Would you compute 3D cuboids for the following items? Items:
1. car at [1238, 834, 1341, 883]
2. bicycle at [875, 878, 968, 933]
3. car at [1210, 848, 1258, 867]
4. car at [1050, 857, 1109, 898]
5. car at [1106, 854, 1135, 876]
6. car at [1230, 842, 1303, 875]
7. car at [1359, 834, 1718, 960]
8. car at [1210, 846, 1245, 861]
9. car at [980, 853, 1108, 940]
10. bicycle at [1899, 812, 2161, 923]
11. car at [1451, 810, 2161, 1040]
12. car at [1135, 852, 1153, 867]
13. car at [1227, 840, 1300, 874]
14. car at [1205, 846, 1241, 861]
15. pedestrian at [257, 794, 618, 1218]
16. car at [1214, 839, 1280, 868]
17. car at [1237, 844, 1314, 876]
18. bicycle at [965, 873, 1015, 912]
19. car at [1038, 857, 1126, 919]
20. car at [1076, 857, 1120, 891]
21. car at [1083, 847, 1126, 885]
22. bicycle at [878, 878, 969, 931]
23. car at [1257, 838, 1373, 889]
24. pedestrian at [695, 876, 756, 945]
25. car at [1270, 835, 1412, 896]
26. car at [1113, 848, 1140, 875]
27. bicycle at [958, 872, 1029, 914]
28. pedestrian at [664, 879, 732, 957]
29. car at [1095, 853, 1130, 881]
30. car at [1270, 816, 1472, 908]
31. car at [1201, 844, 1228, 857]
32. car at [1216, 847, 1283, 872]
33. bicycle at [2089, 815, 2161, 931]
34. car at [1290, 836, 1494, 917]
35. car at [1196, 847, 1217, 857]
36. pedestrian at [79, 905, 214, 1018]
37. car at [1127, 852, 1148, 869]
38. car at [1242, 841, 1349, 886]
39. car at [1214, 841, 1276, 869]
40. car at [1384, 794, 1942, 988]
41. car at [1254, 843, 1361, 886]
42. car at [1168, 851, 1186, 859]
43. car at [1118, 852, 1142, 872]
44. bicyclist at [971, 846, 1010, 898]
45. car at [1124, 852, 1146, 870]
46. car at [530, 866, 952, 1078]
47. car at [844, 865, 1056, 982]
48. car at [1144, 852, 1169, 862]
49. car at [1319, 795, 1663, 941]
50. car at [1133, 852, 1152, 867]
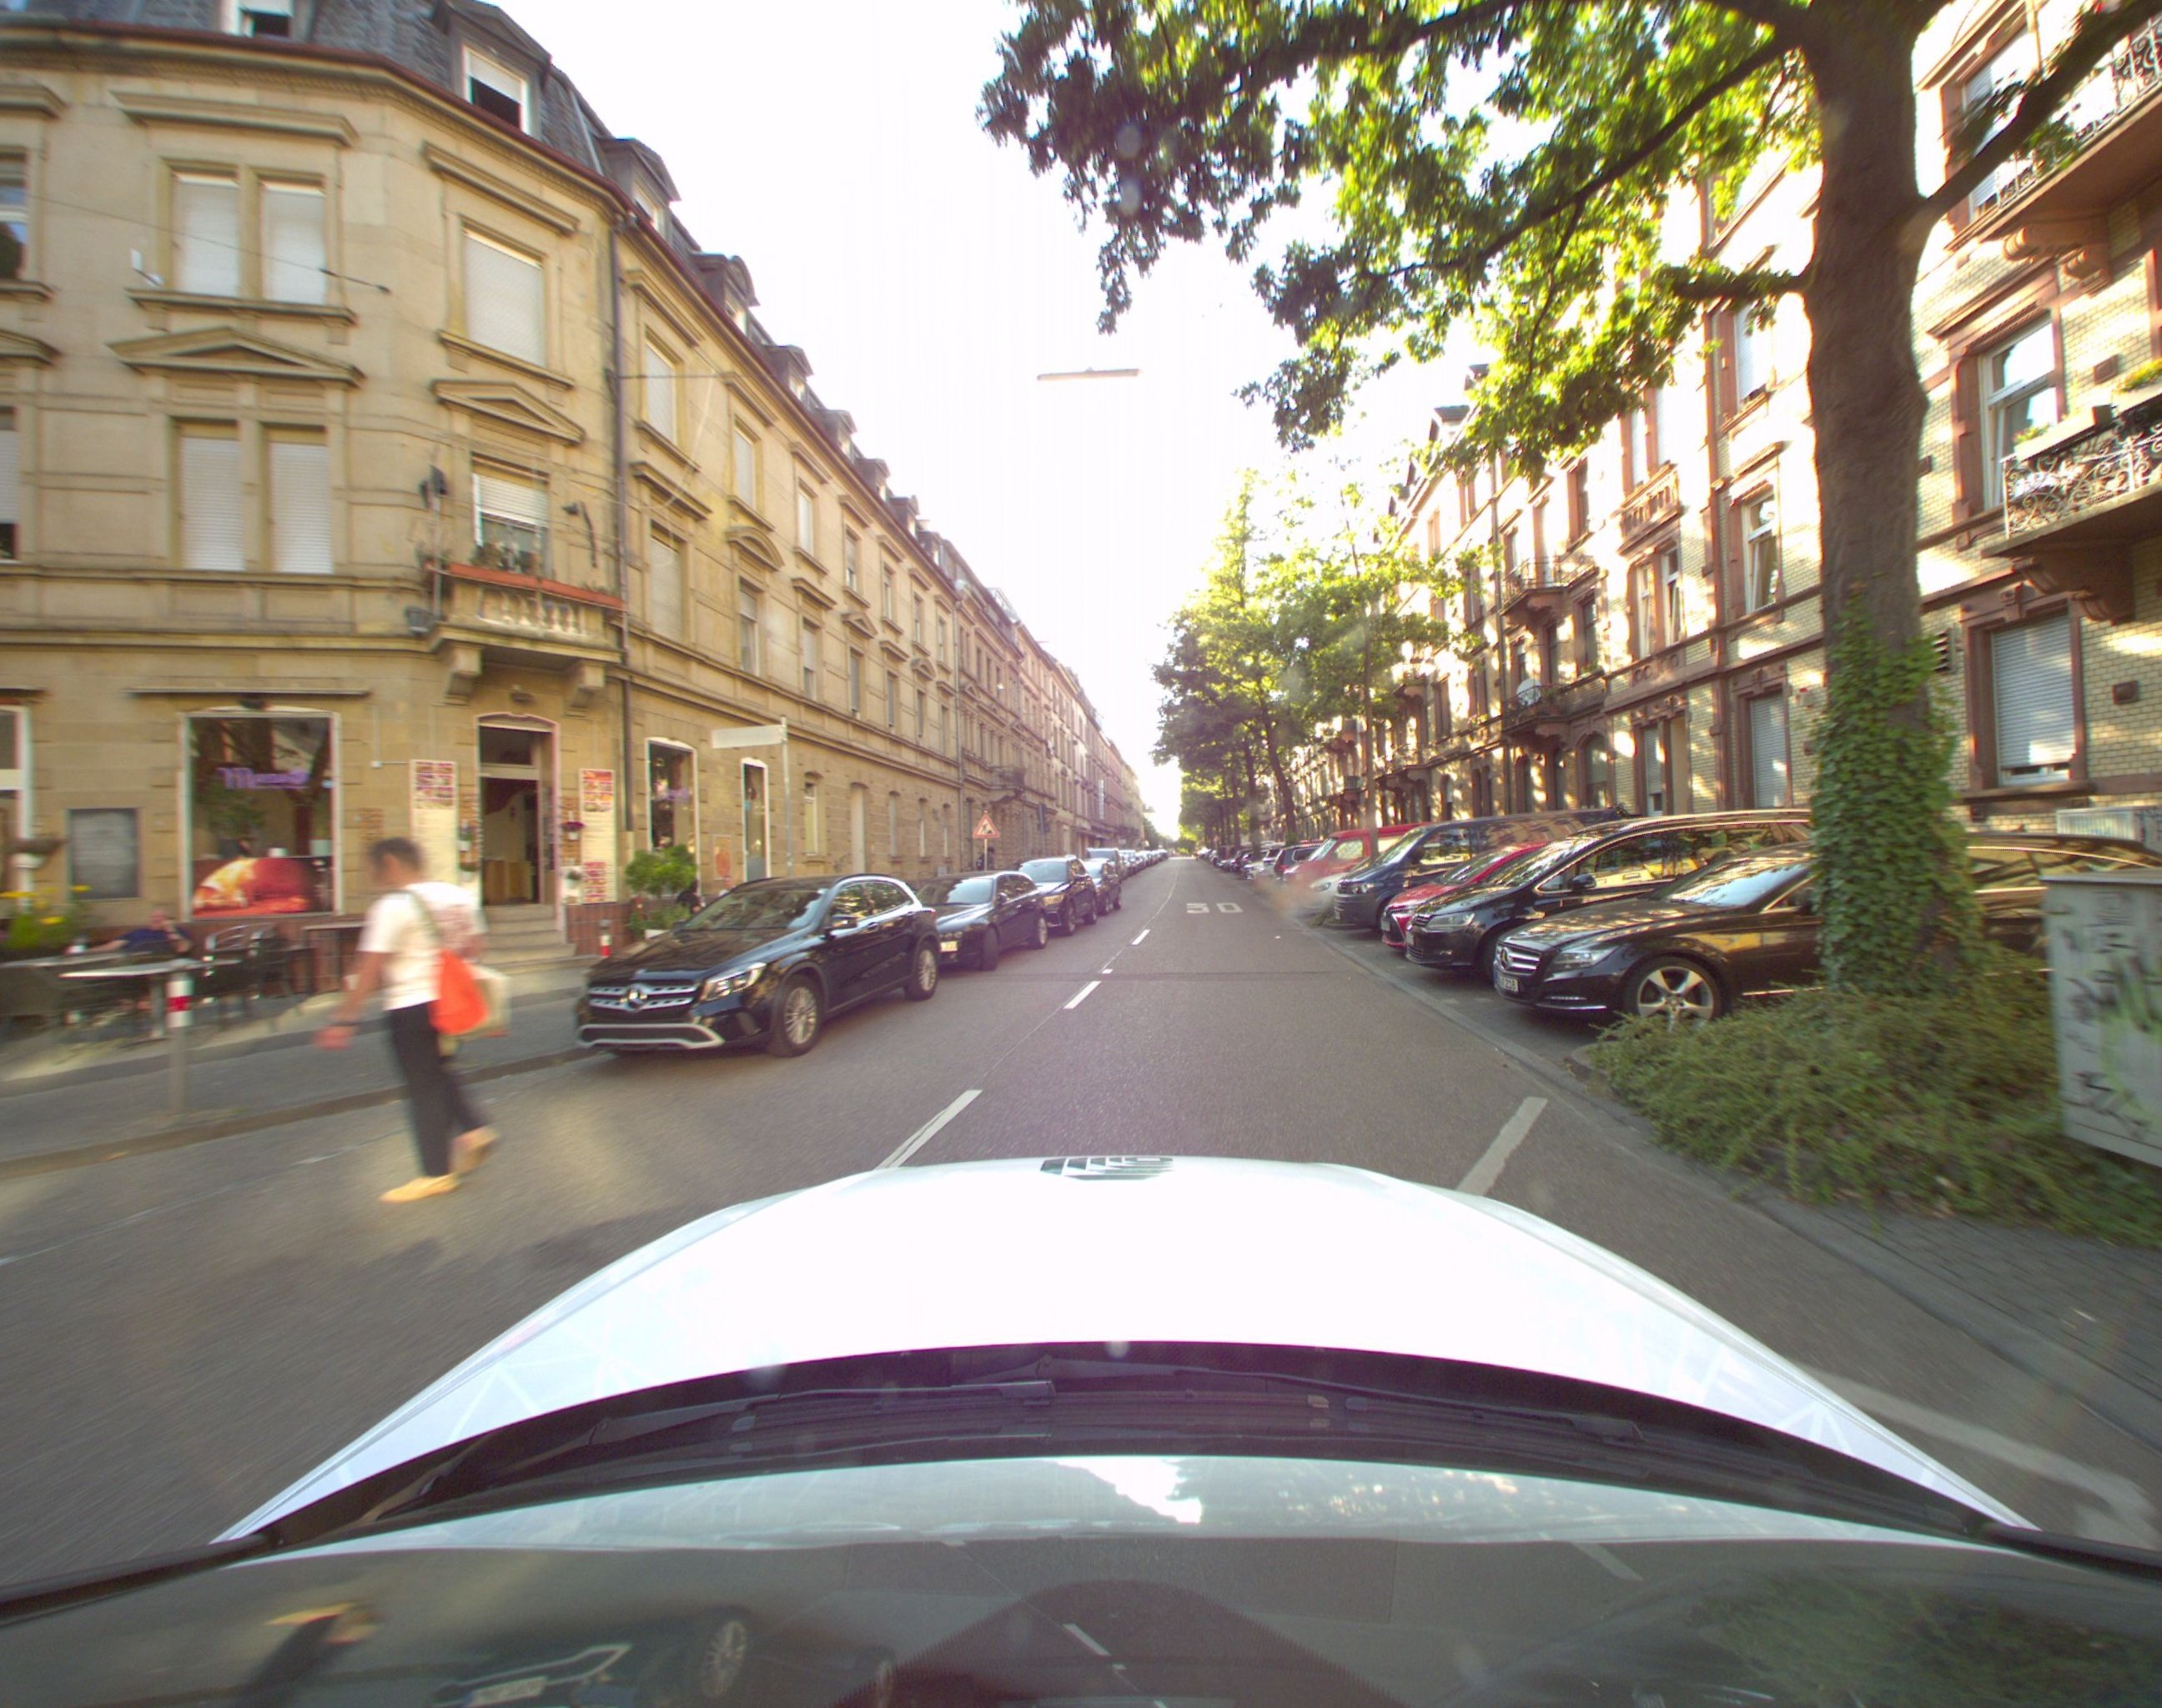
[{"bbox_3d":[9.906,0.203,39.001,4.423,1.924,1.852,-5,1,4],"label":"car"},{"bbox_3d":[-3.371,1.084,17.256,1.856,1.128,0.530,-1,-1,9],"label":"bicycle"},{"bbox_3d":[12.941,0.330,69.031,3.833,1.293,1.720,-4,0,3],"label":"car"},{"bbox_3d":[-0.012,0.952,34.432,1.748,1.501,4.071,-3,0,10],"label":"car"},{"bbox_3d":[2.803,0.756,57.028,1.750,1.467,4.007,-1,0,6],"label":"car"},{"bbox_3d":[11.100,0.274,48.885,3.989,1.607,1.737,-4,-1,6],"label":"car"},{"bbox_3d":[6.270,0.590,11.606,4.083,1.534,1.728,-2,-1,7],"label":"car"},{"bbox_3d":[18.122,-0.042,100.740,3.839,1.573,1.717,-4,0,-1],"label":"car"},{"bbox_3d":[-0.675,0.851,18.426,1.747,1.600,4.565,-3,0,11],"label":"car"},{"bbox_3d":[11.733,0.153,10.196,0.666,1.171,2.600,-5,-1,10],"label":"bicycle"},{"bbox_3d":[5.867,0.540,6.706,4.756,1.413,1.856,-4,-1,9],"label":"car"},{"bbox_3d":[6.896,0.600,88.611,1.750,1.473,4.066,-3,0,6],"label":"car"},{"bbox_3d":[11.544,0.173,51.727,4.200,1.776,1.838,-4,0,5],"label":"car"},{"bbox_3d":[17.143,-0.034,98.428,3.839,1.573,1.717,-4,0,-1],"label":"car"},{"bbox_3d":[-3.191,0.697,4.148,1.110,1.898,0.843,-2,-1,2],"label":"pedestrian"},{"bbox_3d":[13.421,-0.026,66.091,5.030,1.925,1.839,-4,0,7],"label":"car"},{"bbox_3d":[11.024,0.333,46.407,3.989,1.467,1.737,-4,-1,6],"label":"car"},{"bbox_3d":[-3.223,1.347,29.249,0.990,1.158,2.930,-3,0,9],"label":"bicycle"},{"bbox_3d":[0.137,0.913,23.495,1.747,1.501,4.072,-3,0,10],"label":"car"},{"bbox_3d":[0.842,0.913,38.941,1.583,1.475,3.709,-1,0,9],"label":"car"},{"bbox_3d":[1.368,0.586,44.609,1.822,1.943,5.271,-1,0,7],"label":"car"},{"bbox_3d":[-3.455,1.111,17.902,1.856,1.128,0.530,-1,-1,9],"label":"bicycle"},{"bbox_3d":[9.022,0.383,31.651,3.991,1.628,1.808,-4,-1,5],"label":"car"},{"bbox_3d":[-6.592,1.042,15.147,0.722,1.214,0.758,-2,-1,5],"label":"pedestrian"},{"bbox_3d":[8.447,0.371,26.822,4.160,1.628,1.842,-4,-1,10],"label":"car"},{"bbox_3d":[3.468,0.545,62.000,1.750,1.842,4.537,-3,0,6],"label":"car"},{"bbox_3d":[-2.429,1.073,22.712,1.857,1.128,0.529,-1,-1,7],"label":"bicycle"},{"bbox_3d":[-6.551,1.084,13.953,0.722,1.259,0.758,-2,-1,5],"label":"pedestrian"},{"bbox_3d":[1.995,0.770,50.408,1.744,1.608,4.393,-1,0,7],"label":"car"},{"bbox_3d":[7.646,0.220,21.842,4.654,2.033,1.881,-4,-1,4],"label":"car"},{"bbox_3d":[20.187,-0.528,123.085,3.831,1.573,1.721,-4,0,6],"label":"car"},{"bbox_3d":[11.722,0.350,56.831,4.204,1.403,1.836,-4,0,2],"label":"car"},{"bbox_3d":[11.301,0.182,7.664,0.666,1.171,2.600,-5,-1,10],"label":"bicycle"},{"bbox_3d":[7.129,0.515,19.060,4.033,1.510,1.882,-4,-1,6],"label":"car"},{"bbox_3d":[23.607,-0.343,153.262,3.831,1.573,1.721,-4,0,6],"label":"car"},{"bbox_3d":[-11.133,1.256,9.734,0.726,1.214,0.753,-2,-1,-12],"label":"pedestrian"},{"bbox_3d":[5.386,0.563,77.672,1.750,1.473,4.066,-3,0,6],"label":"car"},{"bbox_3d":[9.536,0.396,36.458,4.322,1.556,1.853,-5,1,6],"label":"car"},{"bbox_3d":[12.544,0.114,62.424,4.225,1.795,1.827,-4,0,-13],"label":"car"},{"bbox_3d":[6.039,0.428,9.124,4.655,1.679,1.857,-4,-1,12],"label":"car"},{"bbox_3d":[9.393,0.441,34.081,3.990,1.434,1.798,-5,-1,6],"label":"car"},{"bbox_3d":[23.523,0.262,199.493,3.957,1.859,1.758,-2,0,15],"label":"car"},{"bbox_3d":[4.071,0.664,66.758,1.750,1.473,4.066,-3,0,6],"label":"car"},{"bbox_3d":[-3.239,0.634,29.257,0.990,1.789,1.210,-3,0,9],"label":"bicyclist"},{"bbox_3d":[4.868,0.624,72.821,1.750,1.473,4.066,-3,0,6],"label":"car"},{"bbox_3d":[-2.924,0.935,8.148,1.746,1.488,4.153,-3,-1,12],"label":"car"},{"bbox_3d":[-1.861,0.976,13.210,1.746,1.451,4.566,-3,-1,13],"label":"car"},{"bbox_3d":[12.155,0.536,131.120,1.974,1.486,4.025,-4,-2,39],"label":"car"},{"bbox_3d":[6.977,0.258,14.399,4.996,2.215,1.996,-2,-1,6],"label":"car"},{"bbox_3d":[6.326,0.552,83.870,1.750,1.473,4.066,-3,0,6],"label":"car"}]
